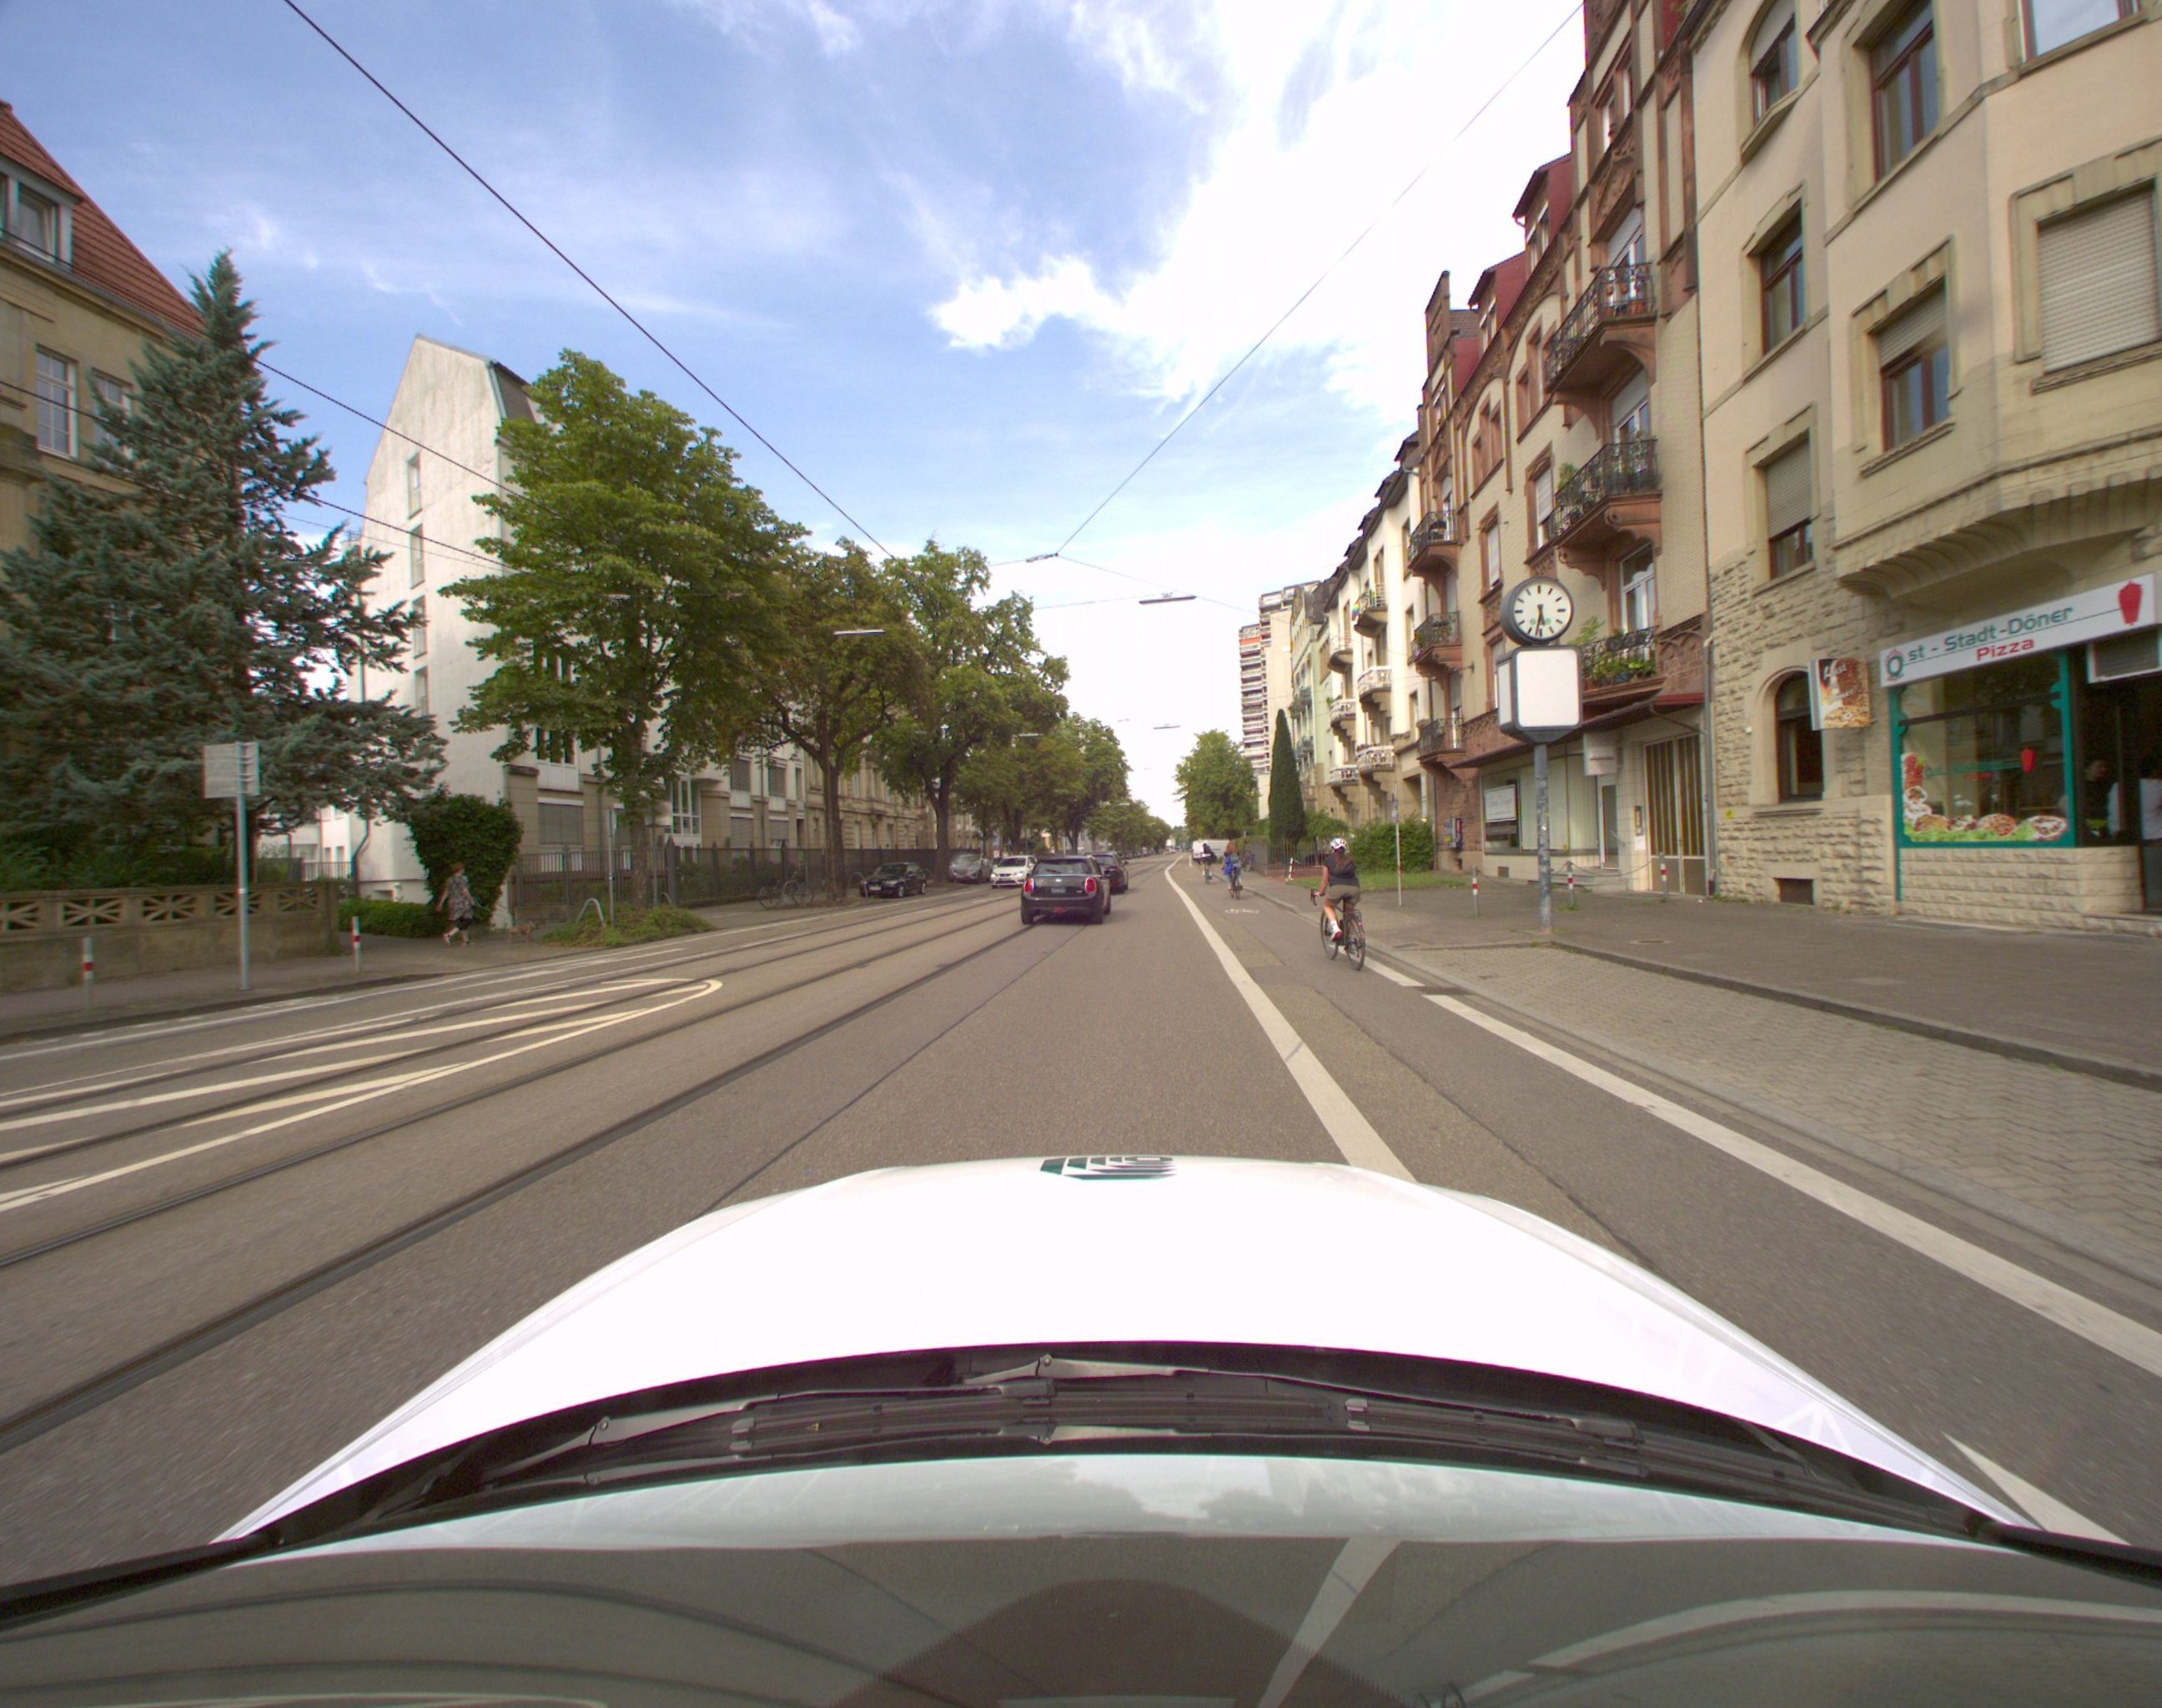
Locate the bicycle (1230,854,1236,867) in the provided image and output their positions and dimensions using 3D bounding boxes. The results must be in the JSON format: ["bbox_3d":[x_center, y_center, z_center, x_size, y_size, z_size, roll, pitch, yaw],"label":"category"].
[{"bbox_3d":[11.202,0.465,59.953,0.383,0.907,1.670,-3,-1,12],"label":"bicycle"}]

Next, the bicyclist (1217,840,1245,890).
[{"bbox_3d":[4.492,0.316,24.392,0.645,1.470,0.800,-2,1,-1],"label":"bicyclist"}]

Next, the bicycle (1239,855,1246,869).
[{"bbox_3d":[9.914,0.490,50.075,0.276,0.852,1.200,-3,-1,8],"label":"bicycle"}]

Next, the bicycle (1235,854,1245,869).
[{"bbox_3d":[10.115,0.457,51.880,0.483,0.907,1.668,-3,-1,8],"label":"bicycle"}]

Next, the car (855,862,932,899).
[{"bbox_3d":[-7.885,1.075,34.592,1.710,1.424,4.176,0,0,9],"label":"car"}]

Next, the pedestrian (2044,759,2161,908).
[{"bbox_3d":[11.321,-0.222,9.036,0.547,1.580,0.562,-2,0,7],"label":"pedestrian"}]

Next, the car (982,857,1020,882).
[{"bbox_3d":[-5.216,0.998,53.492,1.592,1.468,4.087,-2,0,7],"label":"car"}]

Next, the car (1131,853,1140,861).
[{"bbox_3d":[12.505,0.679,187.778,1.793,1.583,4.039,-3,-1,7],"label":"car"}]

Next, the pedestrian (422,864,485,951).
[{"bbox_3d":[-12.929,1.091,16.793,0.702,1.735,0.701,-1,0,3],"label":"pedestrian"}]

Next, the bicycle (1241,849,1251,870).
[{"bbox_3d":[9.283,0.309,45.895,0.389,1.142,1.925,-4,0,8],"label":"bicycle"}]

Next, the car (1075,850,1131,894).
[{"bbox_3d":[0.844,0.594,28.879,1.785,1.470,4.005,0,0,4],"label":"car"}]

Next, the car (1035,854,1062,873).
[{"bbox_3d":[-2.852,0.815,72.927,1.712,1.655,4.551,0,0,6],"label":"car"}]

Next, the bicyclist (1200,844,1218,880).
[{"bbox_3d":[5.370,0.327,34.162,0.654,1.463,1.180,-1,0,6],"label":"bicyclist"}]

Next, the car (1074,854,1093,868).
[{"bbox_3d":[0.322,0.792,95.699,1.746,1.647,4.060,-1,0,7],"label":"car"}]

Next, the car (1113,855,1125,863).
[{"bbox_3d":[6.946,0.971,148.032,1.793,1.374,4.039,-3,-1,7],"label":"car"}]

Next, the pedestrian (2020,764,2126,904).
[{"bbox_3d":[11.618,-0.229,9.551,0.556,1.580,0.508,-2,0,6],"label":"pedestrian"}]

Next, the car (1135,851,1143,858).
[{"bbox_3d":[14.004,0.073,196.844,1.793,1.583,4.039,-3,-1,7],"label":"car"}]

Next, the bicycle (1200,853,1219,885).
[{"bbox_3d":[5.365,0.608,34.144,0.654,1.249,2.128,-1,0,6],"label":"bicycle"}]

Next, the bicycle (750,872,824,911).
[{"bbox_3d":[-9.718,1.217,26.937,2.240,1.175,0.828,-1,0,-26],"label":"bicycle"}]

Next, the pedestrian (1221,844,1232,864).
[{"bbox_3d":[12.937,-0.015,72.353,0.781,1.733,0.898,-4,-1,7],"label":"pedestrian"}]

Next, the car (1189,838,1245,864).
[{"bbox_3d":[12.805,-0.288,76.581,4.980,2.290,2.359,-1,-1,-36],"label":"car"}]

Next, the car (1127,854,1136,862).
[{"bbox_3d":[11.054,0.843,177.815,1.793,1.583,4.039,-3,-1,7],"label":"car"}]

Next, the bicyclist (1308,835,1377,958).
[{"bbox_3d":[3.504,0.544,10.980,0.635,1.570,1.112,-1,0,5],"label":"bicyclist"}]

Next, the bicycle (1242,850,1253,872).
[{"bbox_3d":[8.827,0.346,43.210,0.389,1.103,1.763,-4,0,8],"label":"bicycle"}]

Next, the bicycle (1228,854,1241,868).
[{"bbox_3d":[10.464,0.488,55.569,0.485,0.907,1.662,-3,-1,-4],"label":"bicycle"}]

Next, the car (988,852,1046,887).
[{"bbox_3d":[-2.909,0.673,37.996,1.561,1.416,4.012,-4,0,11],"label":"car"}]

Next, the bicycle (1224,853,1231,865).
[{"bbox_3d":[12.242,0.429,68.164,0.384,0.907,1.845,-3,-1,6],"label":"bicycle"}]

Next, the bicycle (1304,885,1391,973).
[{"bbox_3d":[3.515,0.952,10.916,0.635,0.981,2.074,-1,0,5],"label":"bicycle"}]

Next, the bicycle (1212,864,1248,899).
[{"bbox_3d":[4.510,0.805,24.737,0.686,0.962,2.036,-2,0,0],"label":"bicycle"}]

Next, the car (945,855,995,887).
[{"bbox_3d":[-6.259,0.927,46.488,1.701,1.673,4.366,-2,0,7],"label":"car"}]

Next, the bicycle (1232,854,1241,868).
[{"bbox_3d":[10.253,0.448,53.665,0.482,0.907,1.670,-3,-1,10],"label":"bicycle"}]

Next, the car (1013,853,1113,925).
[{"bbox_3d":[-0.281,0.694,18.244,1.785,1.423,4.006,0,0,5],"label":"car"}]
